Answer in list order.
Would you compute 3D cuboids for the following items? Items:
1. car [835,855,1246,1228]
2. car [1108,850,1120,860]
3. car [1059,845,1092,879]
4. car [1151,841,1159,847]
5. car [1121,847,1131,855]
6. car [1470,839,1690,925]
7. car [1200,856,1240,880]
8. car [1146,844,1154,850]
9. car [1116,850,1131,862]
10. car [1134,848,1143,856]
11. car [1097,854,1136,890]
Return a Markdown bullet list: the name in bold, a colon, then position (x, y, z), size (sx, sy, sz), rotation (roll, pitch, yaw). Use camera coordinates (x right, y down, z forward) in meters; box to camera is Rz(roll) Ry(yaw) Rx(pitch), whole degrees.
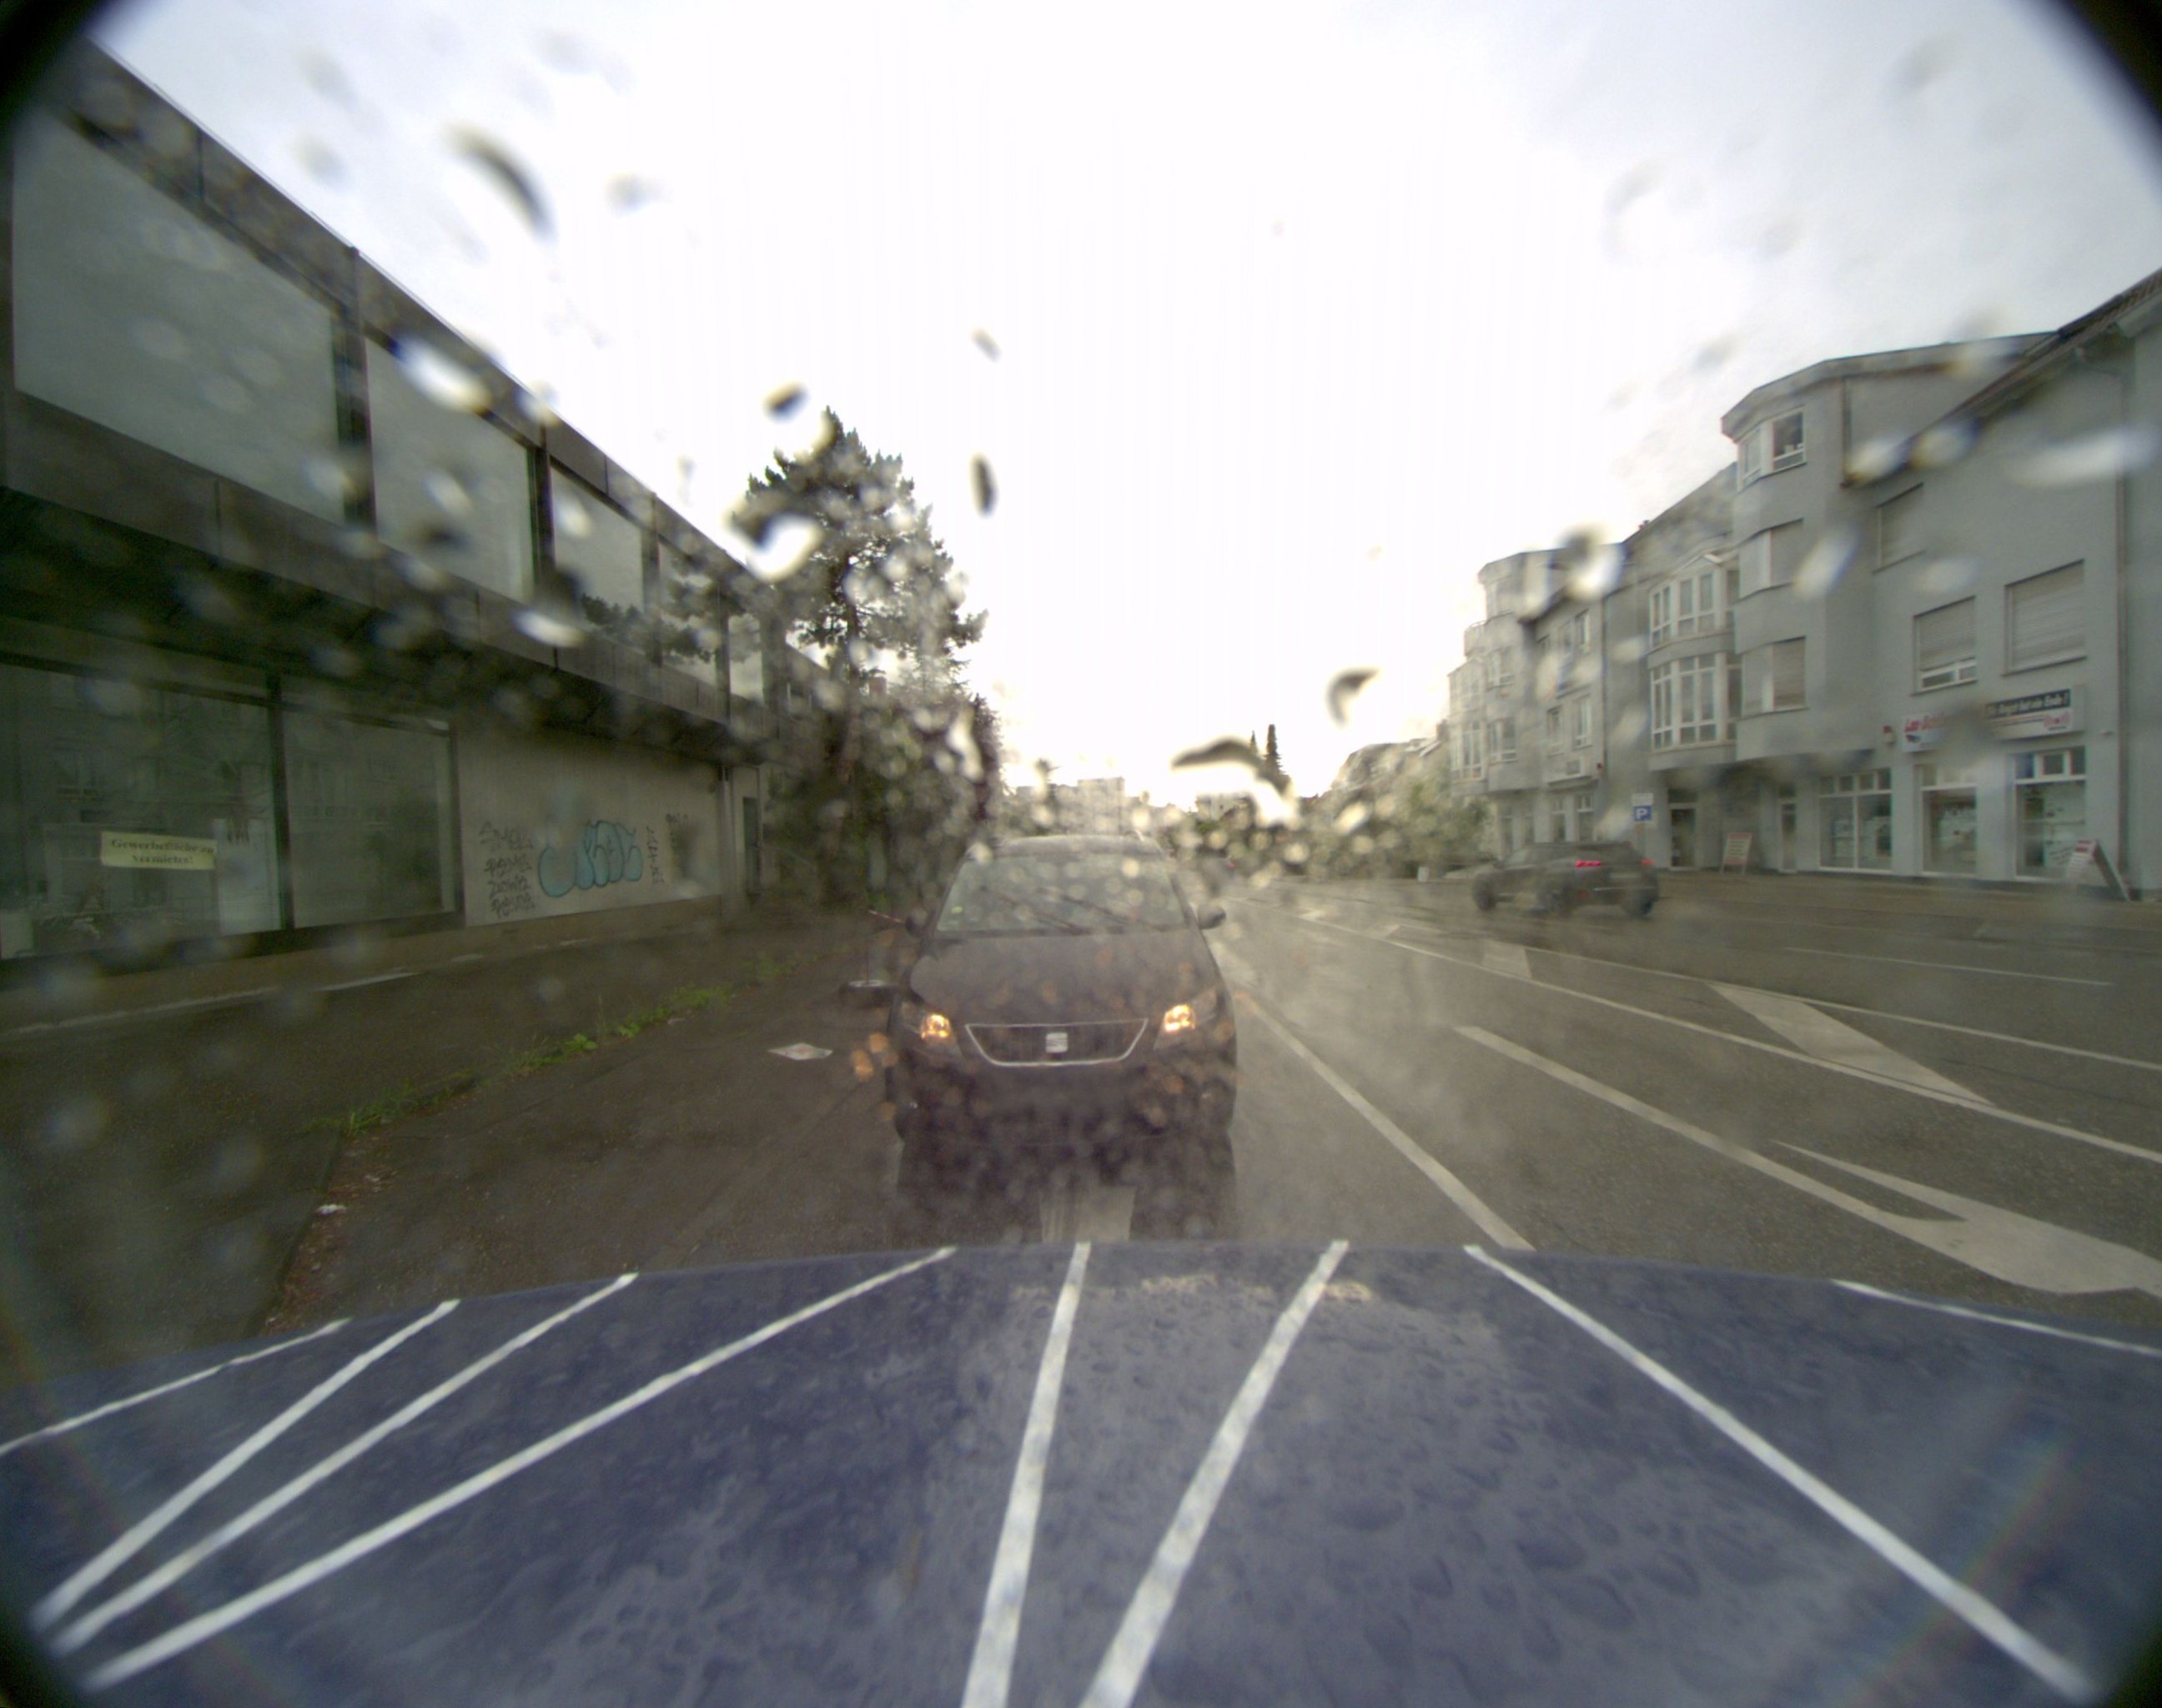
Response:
- **car**: position (-0.144, 0.827, 5.638), size (1.754, 1.534, 4.676), rotation (-1, 1, 1)
- **car**: position (6.342, 0.192, 146.536), size (1.998, 1.774, 3.999), rotation (-2, 1, 1)
- **car**: position (-0.342, 0.471, 50.420), size (1.998, 2.072, 3.999), rotation (-2, 1, 1)
- **car**: position (23.533, -3.282, 241.519), size (1.996, 1.808, 4.003), rotation (-2, 1, 14)
- **car**: position (10.761, -0.729, 181.794), size (1.997, 1.808, 4.002), rotation (-2, 1, 8)
- **car**: position (10.187, 0.498, 15.958), size (1.972, 1.503, 3.999), rotation (-2, 1, 0)
- **car**: position (10.321, 1.030, 56.807), size (1.999, 1.615, 4.538), rotation (-2, 1, -1)
- **car**: position (20.180, -2.091, 221.084), size (1.998, 1.808, 3.999), rotation (-2, 1, 1)
- **car**: position (6.634, 0.231, 118.627), size (1.998, 1.723, 3.999), rotation (-2, 1, 1)
- **car**: position (15.757, -0.488, 208.226), size (1.998, 2.002, 3.999), rotation (-2, 1, 1)
- **car**: position (1.750, 0.870, 38.836), size (1.803, 1.675, 3.999), rotation (-2, 1, 1)
